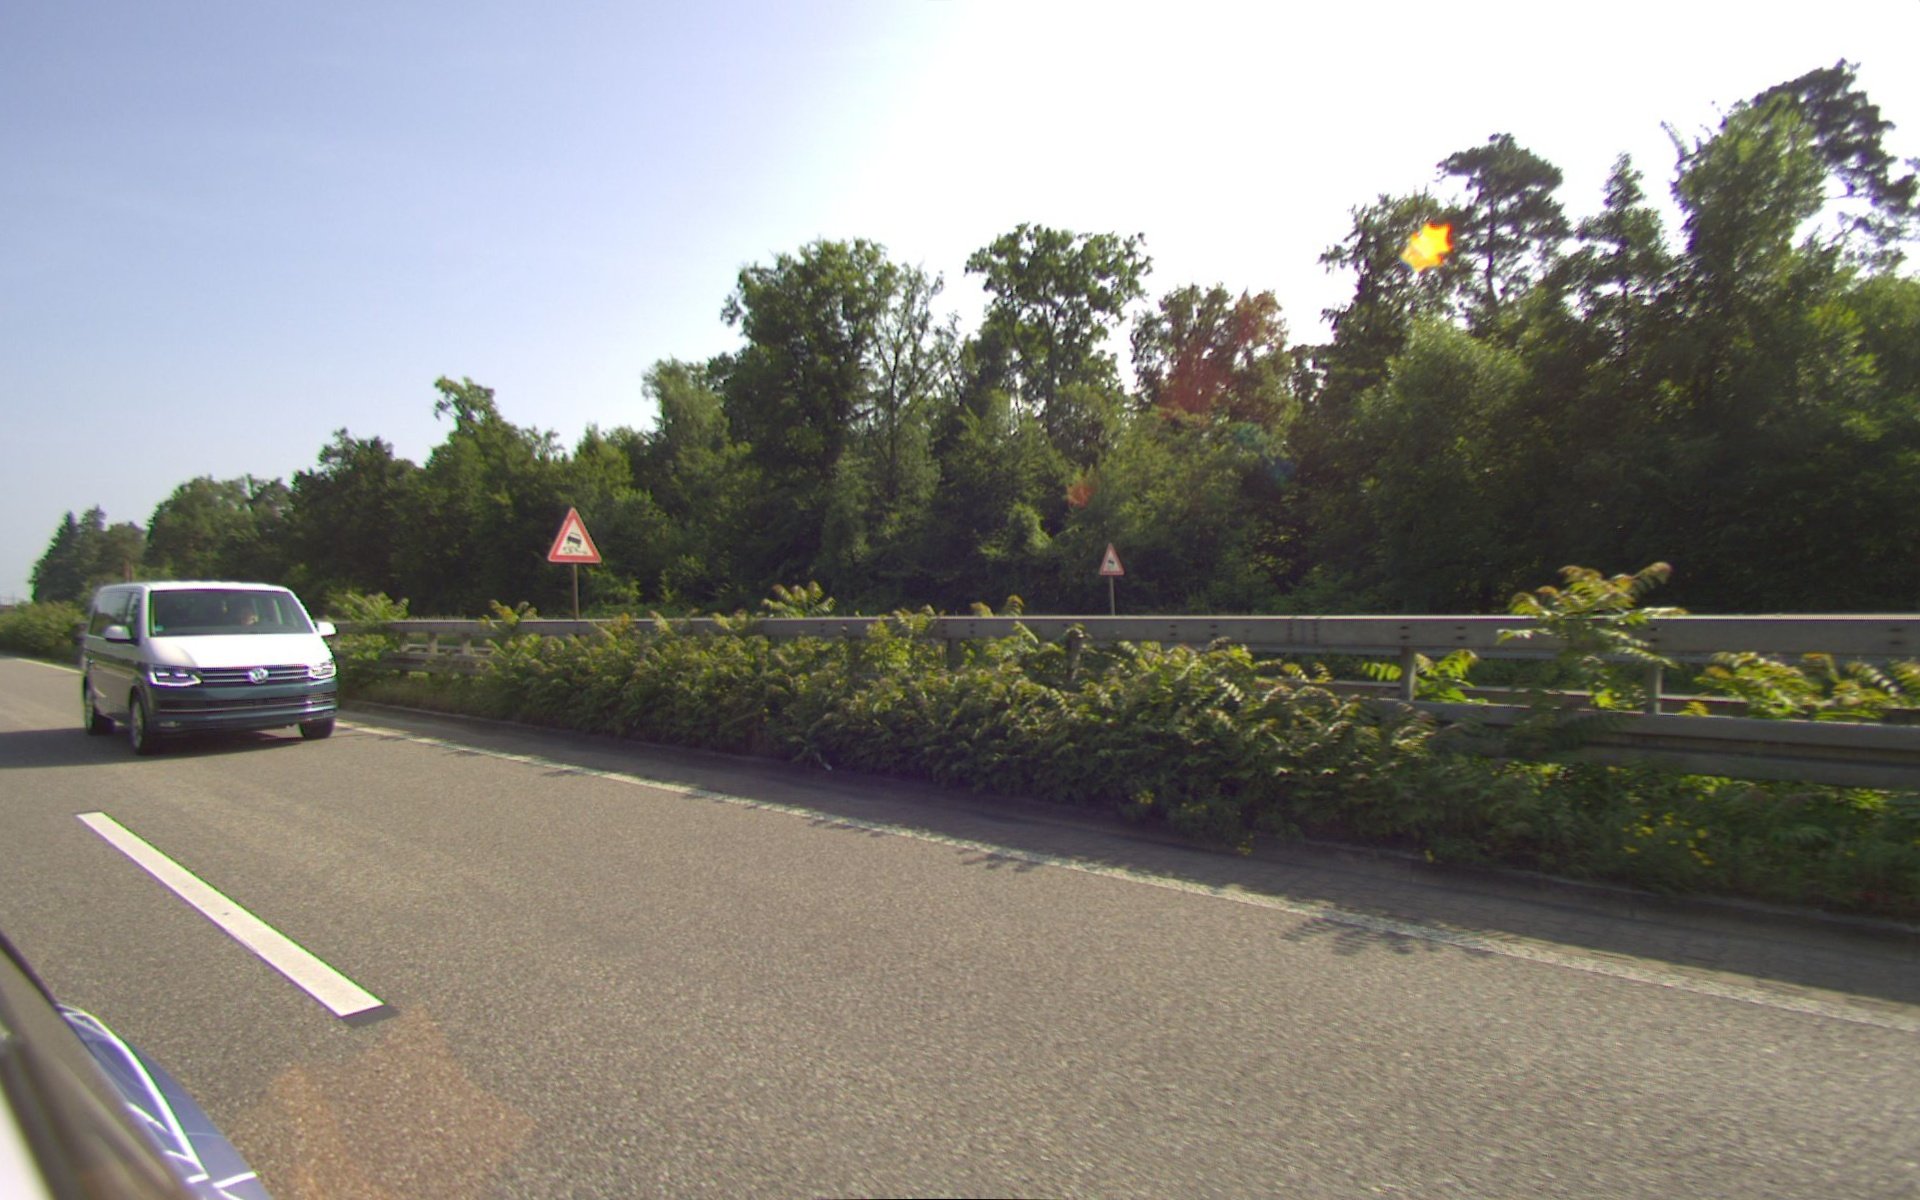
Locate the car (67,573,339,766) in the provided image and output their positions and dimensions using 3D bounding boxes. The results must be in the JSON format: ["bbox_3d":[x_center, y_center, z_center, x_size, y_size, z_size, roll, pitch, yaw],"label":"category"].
[{"bbox_3d":[-9.541,0.742,12.592,4.706,1.960,1.887,-1,-1,43],"label":"car"}]
